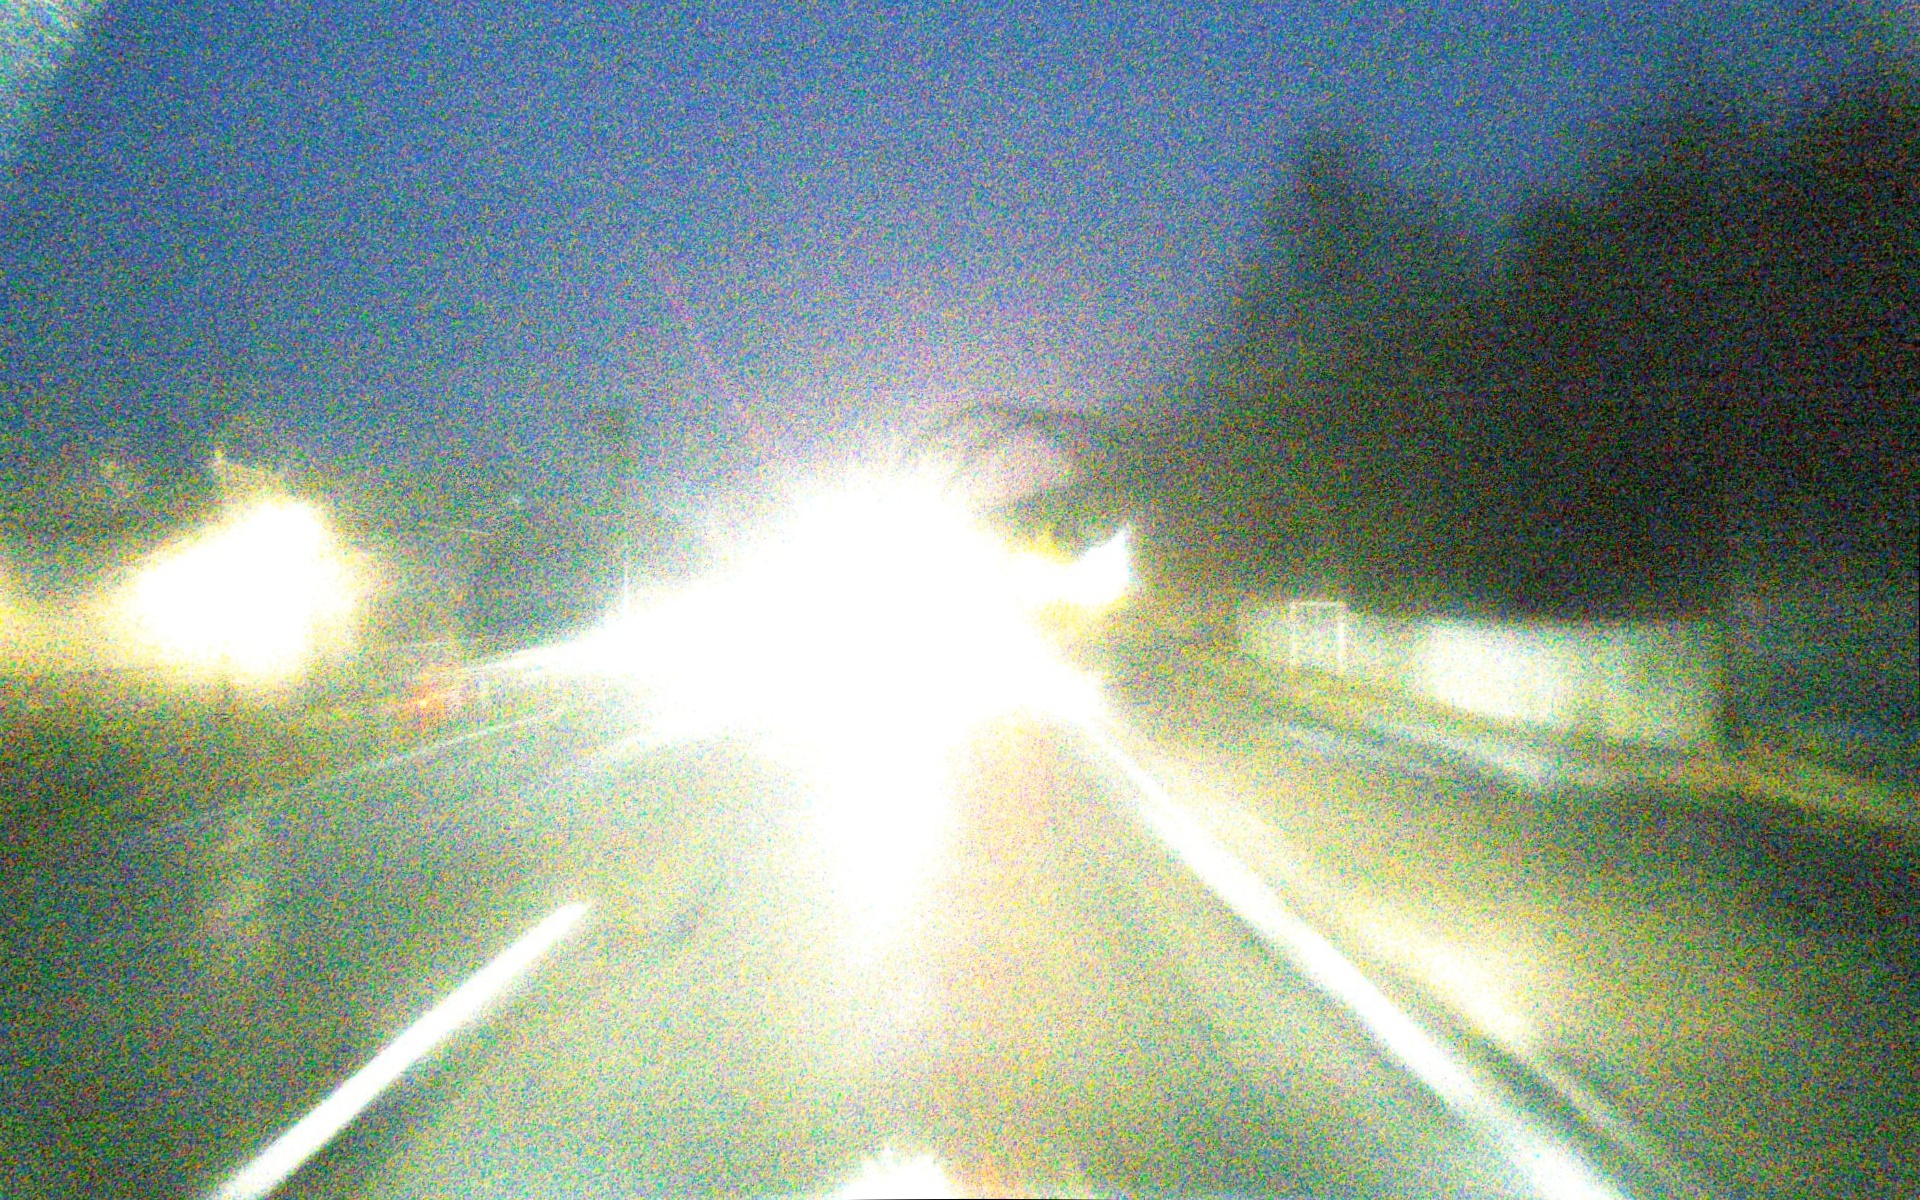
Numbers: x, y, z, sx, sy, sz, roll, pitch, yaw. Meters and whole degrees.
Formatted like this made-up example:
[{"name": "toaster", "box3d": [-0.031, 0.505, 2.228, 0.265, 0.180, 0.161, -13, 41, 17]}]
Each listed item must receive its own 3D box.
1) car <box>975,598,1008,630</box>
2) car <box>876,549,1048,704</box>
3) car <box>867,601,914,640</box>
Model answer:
[{"name": "car", "box3d": [2.057, 0.872, 108.279, 1.953, 1.948, 4.000, -3, 0, 0]}, {"name": "car", "box3d": [0.004, 0.412, 29.575, 2.660, 2.347, 6.099, -3, 0, -1]}, {"name": "car", "box3d": [-3.012, 0.869, 72.157, 1.850, 1.666, 4.156, 0, 0, 0]}]
